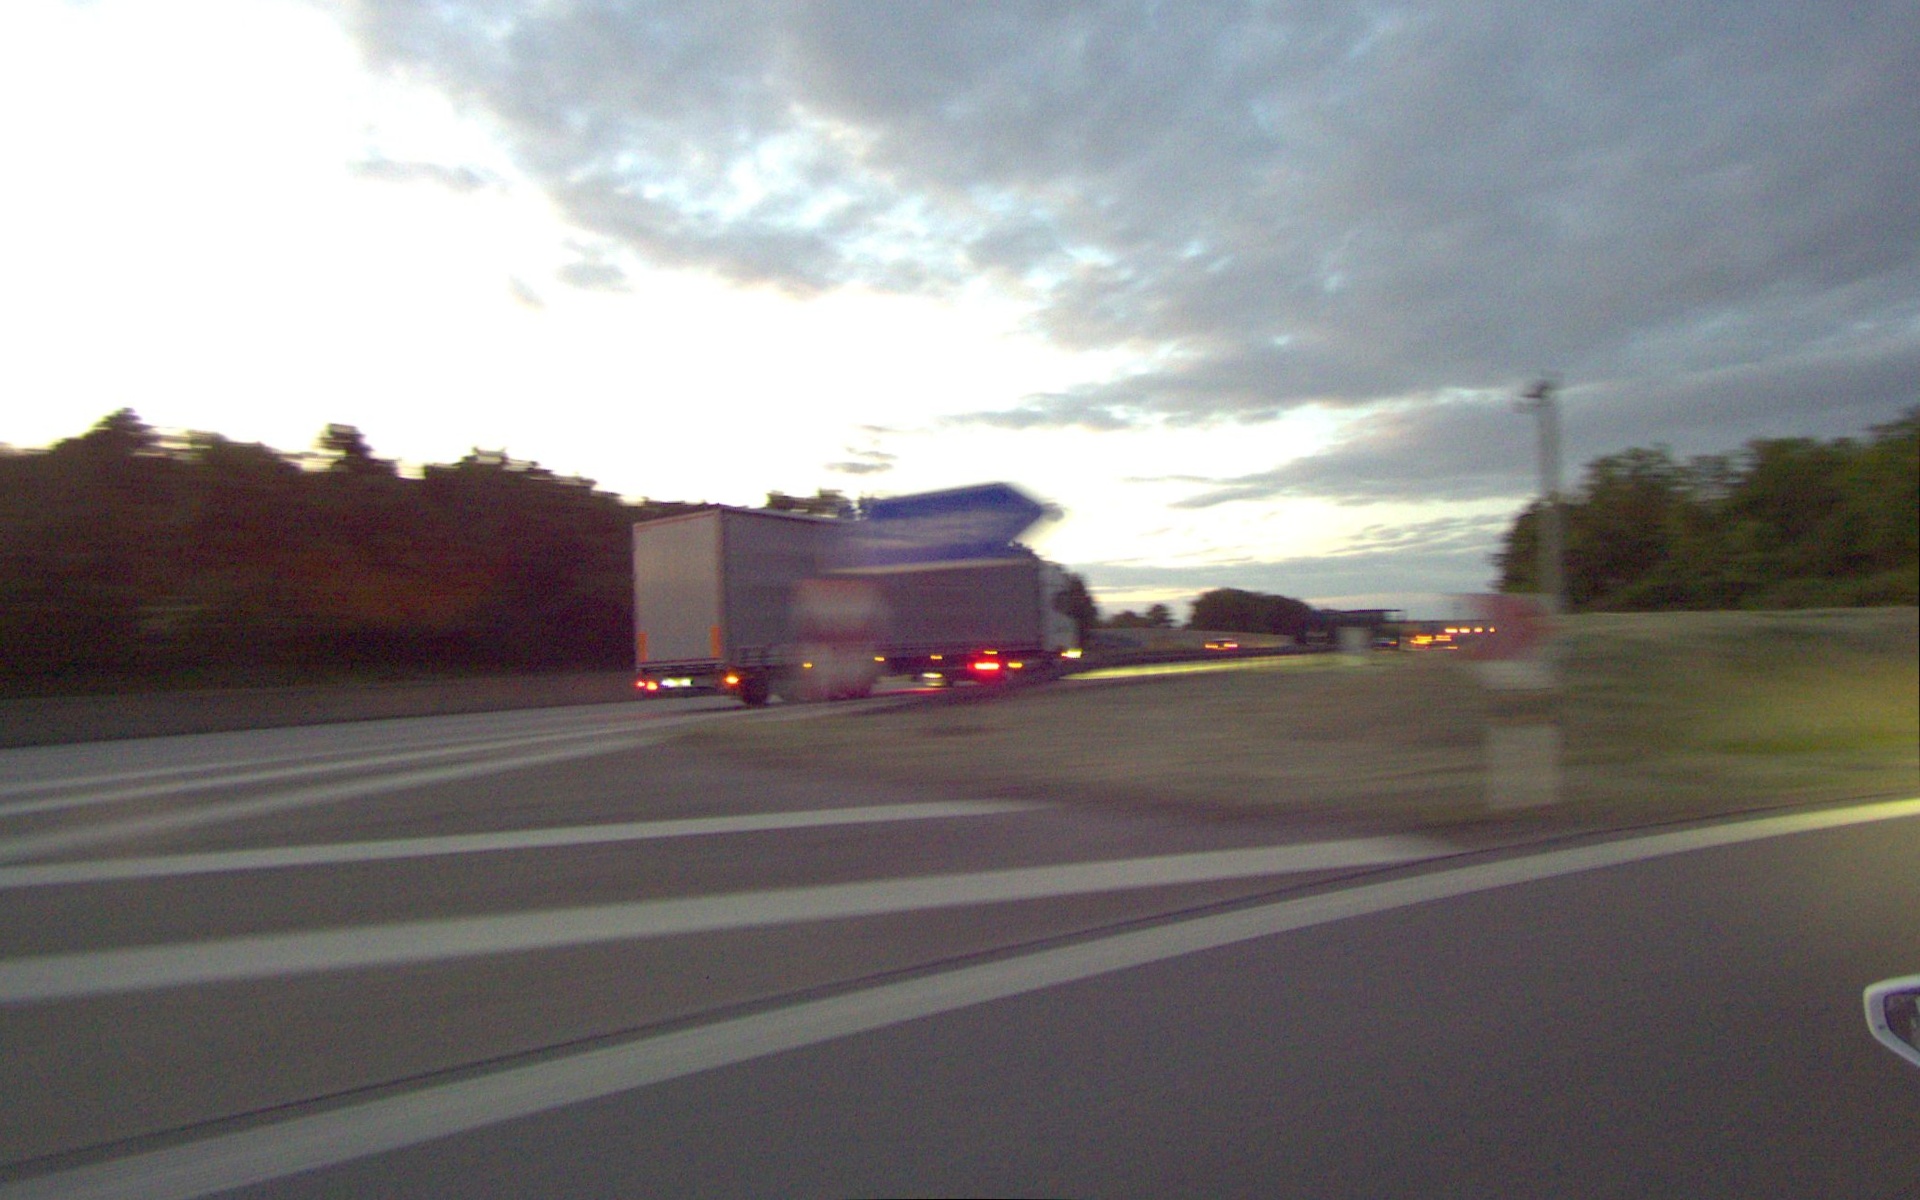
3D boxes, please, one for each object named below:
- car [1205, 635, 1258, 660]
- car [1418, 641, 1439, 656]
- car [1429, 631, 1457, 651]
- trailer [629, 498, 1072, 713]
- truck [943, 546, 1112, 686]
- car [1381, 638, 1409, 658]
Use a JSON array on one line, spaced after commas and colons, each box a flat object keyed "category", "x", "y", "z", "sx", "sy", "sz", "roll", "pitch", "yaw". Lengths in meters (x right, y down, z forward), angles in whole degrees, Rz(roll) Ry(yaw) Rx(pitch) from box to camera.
[{"category": "car", "x": 18.030, "y": 3.128, "z": 66.518, "sx": 1.967, "sy": 1.517, "sz": 4.536, "roll": -5, "pitch": -4, "yaw": 33}, {"category": "car", "x": 68.260, "y": 7.024, "z": 146.425, "sx": 1.968, "sy": 2.039, "sz": 3.987, "roll": -6, "pitch": -4, "yaw": 35}, {"category": "car", "x": 50.847, "y": 4.351, "z": 105.779, "sx": 2.229, "sy": 2.040, "sz": 5.136, "roll": -2, "pitch": -3, "yaw": 30}, {"category": "trailer", "x": -1.611, "y": 0.392, "z": 25.838, "sx": 2.736, "sy": 3.965, "sz": 14.787, "roll": -5, "pitch": -4, "yaw": 31}, {"category": "truck", "x": 2.316, "y": 0.612, "z": 32.325, "sx": 2.741, "sy": 3.951, "sz": 6.141, "roll": -5, "pitch": -4, "yaw": 31}, {"category": "car", "x": 47.247, "y": 5.160, "z": 109.088, "sx": 1.967, "sy": 2.039, "sz": 3.988, "roll": -5, "pitch": -4, "yaw": 34}]
